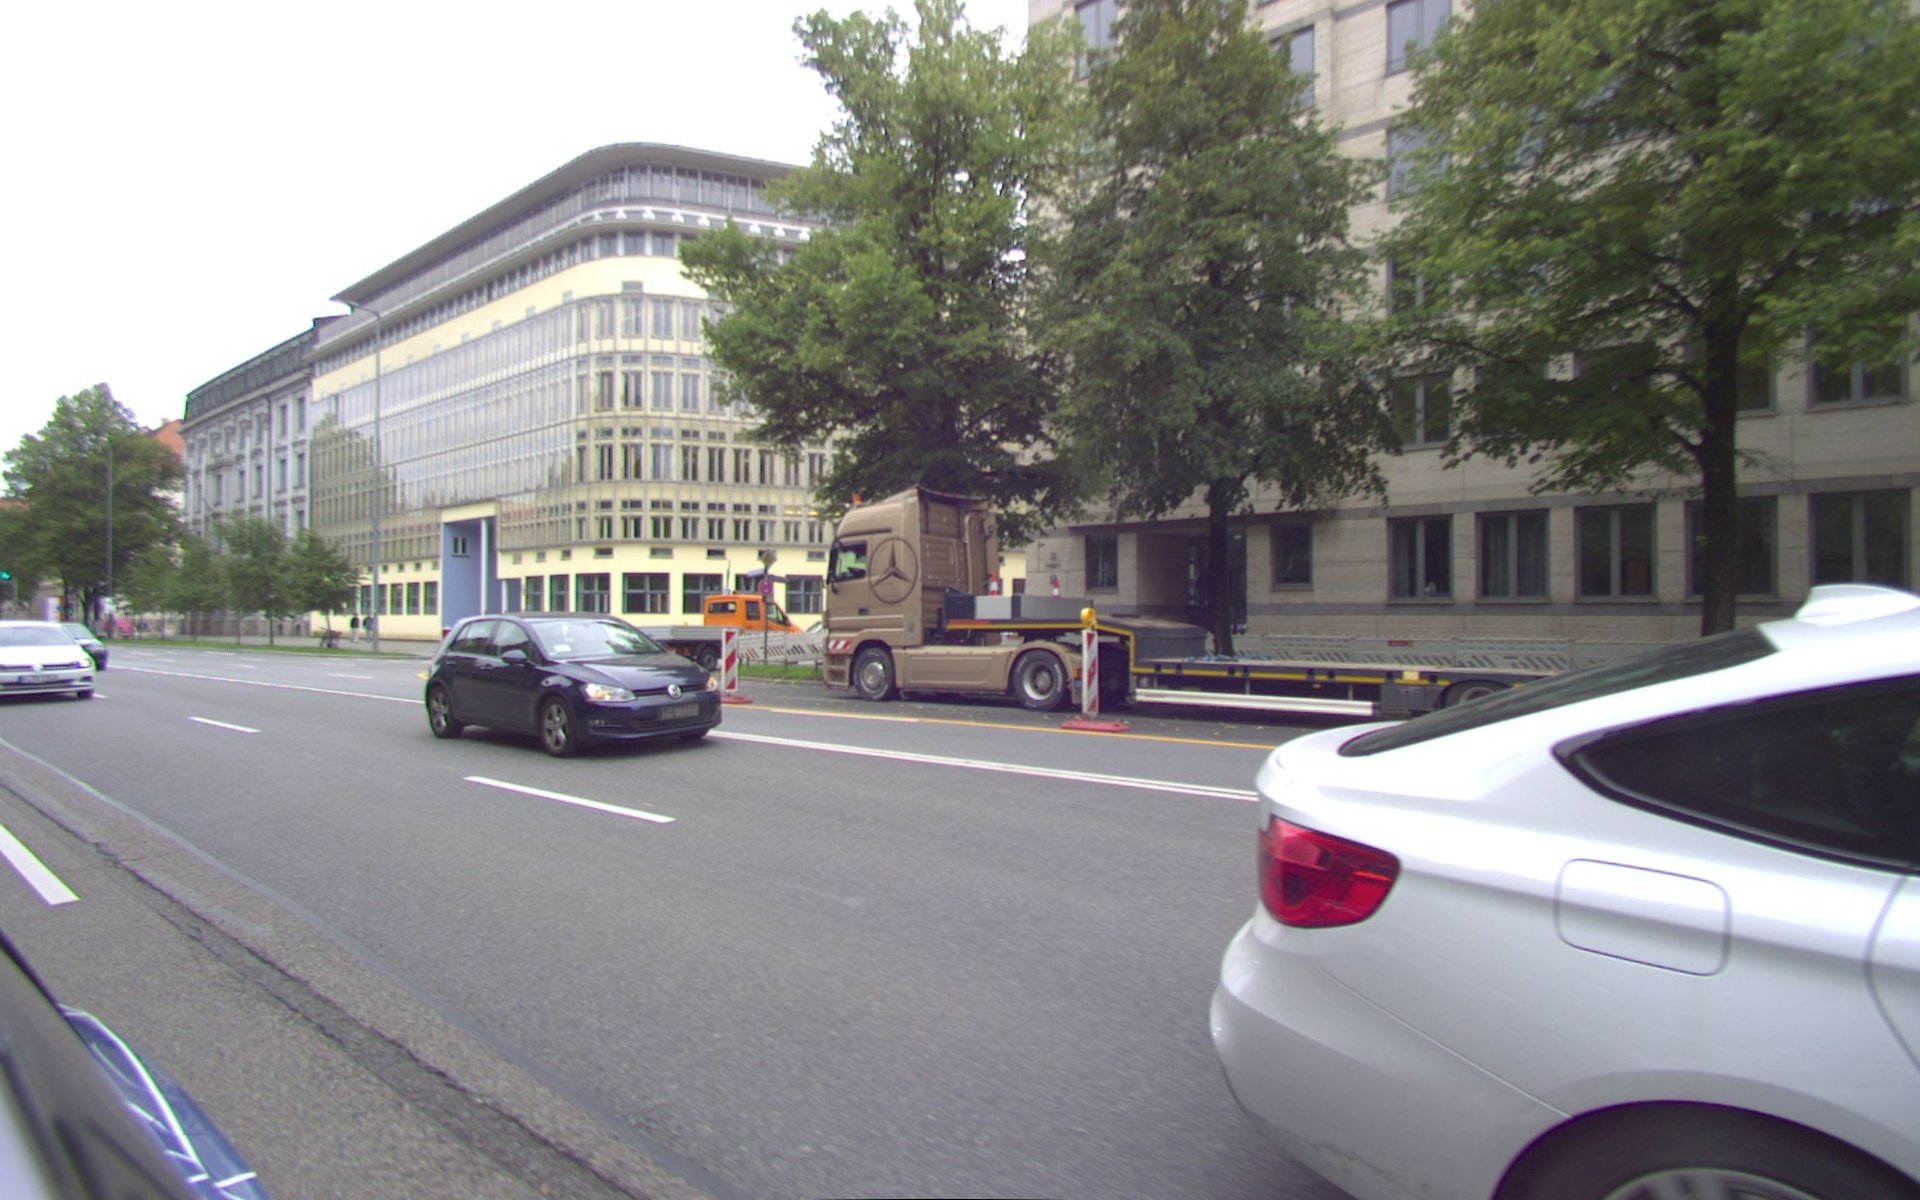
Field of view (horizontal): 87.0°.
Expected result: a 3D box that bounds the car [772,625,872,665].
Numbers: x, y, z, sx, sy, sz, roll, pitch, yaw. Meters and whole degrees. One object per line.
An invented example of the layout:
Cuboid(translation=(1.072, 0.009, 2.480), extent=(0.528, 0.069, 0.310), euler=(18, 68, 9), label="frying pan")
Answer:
Cuboid(translation=(-6.416, 2.071, 47.043), extent=(4.254, 1.763, 1.876), euler=(0, -2, -21), label="car")

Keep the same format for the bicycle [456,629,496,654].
Cuboid(translation=(-27.173, 2.339, 56.832), extent=(0.573, 1.328, 1.991), euler=(-2, 0, 34), label="bicycle")

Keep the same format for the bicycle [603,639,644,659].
Cuboid(translation=(-15.639, 2.287, 47.044), extent=(1.709, 0.884, 0.587), euler=(0, -2, -8), label="bicycle")

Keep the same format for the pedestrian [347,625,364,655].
Cuboid(translation=(-36.407, 2.393, 60.937), extent=(0.835, 1.790, 0.609), euler=(-2, -1, 41), label="pedestrian")

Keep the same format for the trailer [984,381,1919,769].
Cuboid(translation=(6.011, -0.148, 14.053), extent=(11.746, 3.768, 2.923), euler=(-1, 0, 36), label="trailer")

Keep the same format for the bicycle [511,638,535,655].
Cuboid(translation=(-22.063, 2.340, 51.087), extent=(1.737, 0.884, 0.471), euler=(-2, -2, 44), label="bicycle")

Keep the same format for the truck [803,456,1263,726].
Cuboid(translation=(1.025, -0.061, 17.722), extent=(7.651, 3.803, 2.890), euler=(-1, 0, 36), label="truck")

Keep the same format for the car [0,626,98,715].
Cuboid(translation=(-17.392, 1.220, 18.507), extent=(4.271, 1.458, 1.774), euler=(-1, -2, 40), label="car")

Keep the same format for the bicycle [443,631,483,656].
Cuboid(translation=(-28.315, 2.451, 57.636), extent=(0.637, 1.328, 1.991), euler=(-2, 0, 34), label="bicycle")

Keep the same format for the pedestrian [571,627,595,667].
Cuboid(translation=(-17.155, 2.125, 46.054), extent=(0.978, 1.746, 0.817), euler=(-1, 0, -19), label="pedestrian")

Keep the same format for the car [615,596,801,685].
Cuboid(translation=(-7.782, 1.226, 31.822), extent=(2.152, 2.556, 5.629), euler=(-1, -2, 36), label="car")

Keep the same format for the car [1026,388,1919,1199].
Cuboid(translation=(2.633, 0.537, 1.380), extent=(5.022, 1.649, 1.774), euler=(-1, -2, 40), label="car")

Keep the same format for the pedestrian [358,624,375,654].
Cuboid(translation=(-36.011, 2.365, 61.431), extent=(0.835, 1.790, 0.609), euler=(-2, -1, 41), label="pedestrian")

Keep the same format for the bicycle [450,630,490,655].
Cuboid(translation=(-27.672, 2.398, 57.215), extent=(0.573, 1.328, 1.991), euler=(-2, 0, 34), label="bicycle")

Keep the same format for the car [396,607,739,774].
Cuboid(translation=(-4.500, 0.884, 11.299), extent=(4.334, 1.528, 1.674), euler=(-1, -2, 39), label="car")
